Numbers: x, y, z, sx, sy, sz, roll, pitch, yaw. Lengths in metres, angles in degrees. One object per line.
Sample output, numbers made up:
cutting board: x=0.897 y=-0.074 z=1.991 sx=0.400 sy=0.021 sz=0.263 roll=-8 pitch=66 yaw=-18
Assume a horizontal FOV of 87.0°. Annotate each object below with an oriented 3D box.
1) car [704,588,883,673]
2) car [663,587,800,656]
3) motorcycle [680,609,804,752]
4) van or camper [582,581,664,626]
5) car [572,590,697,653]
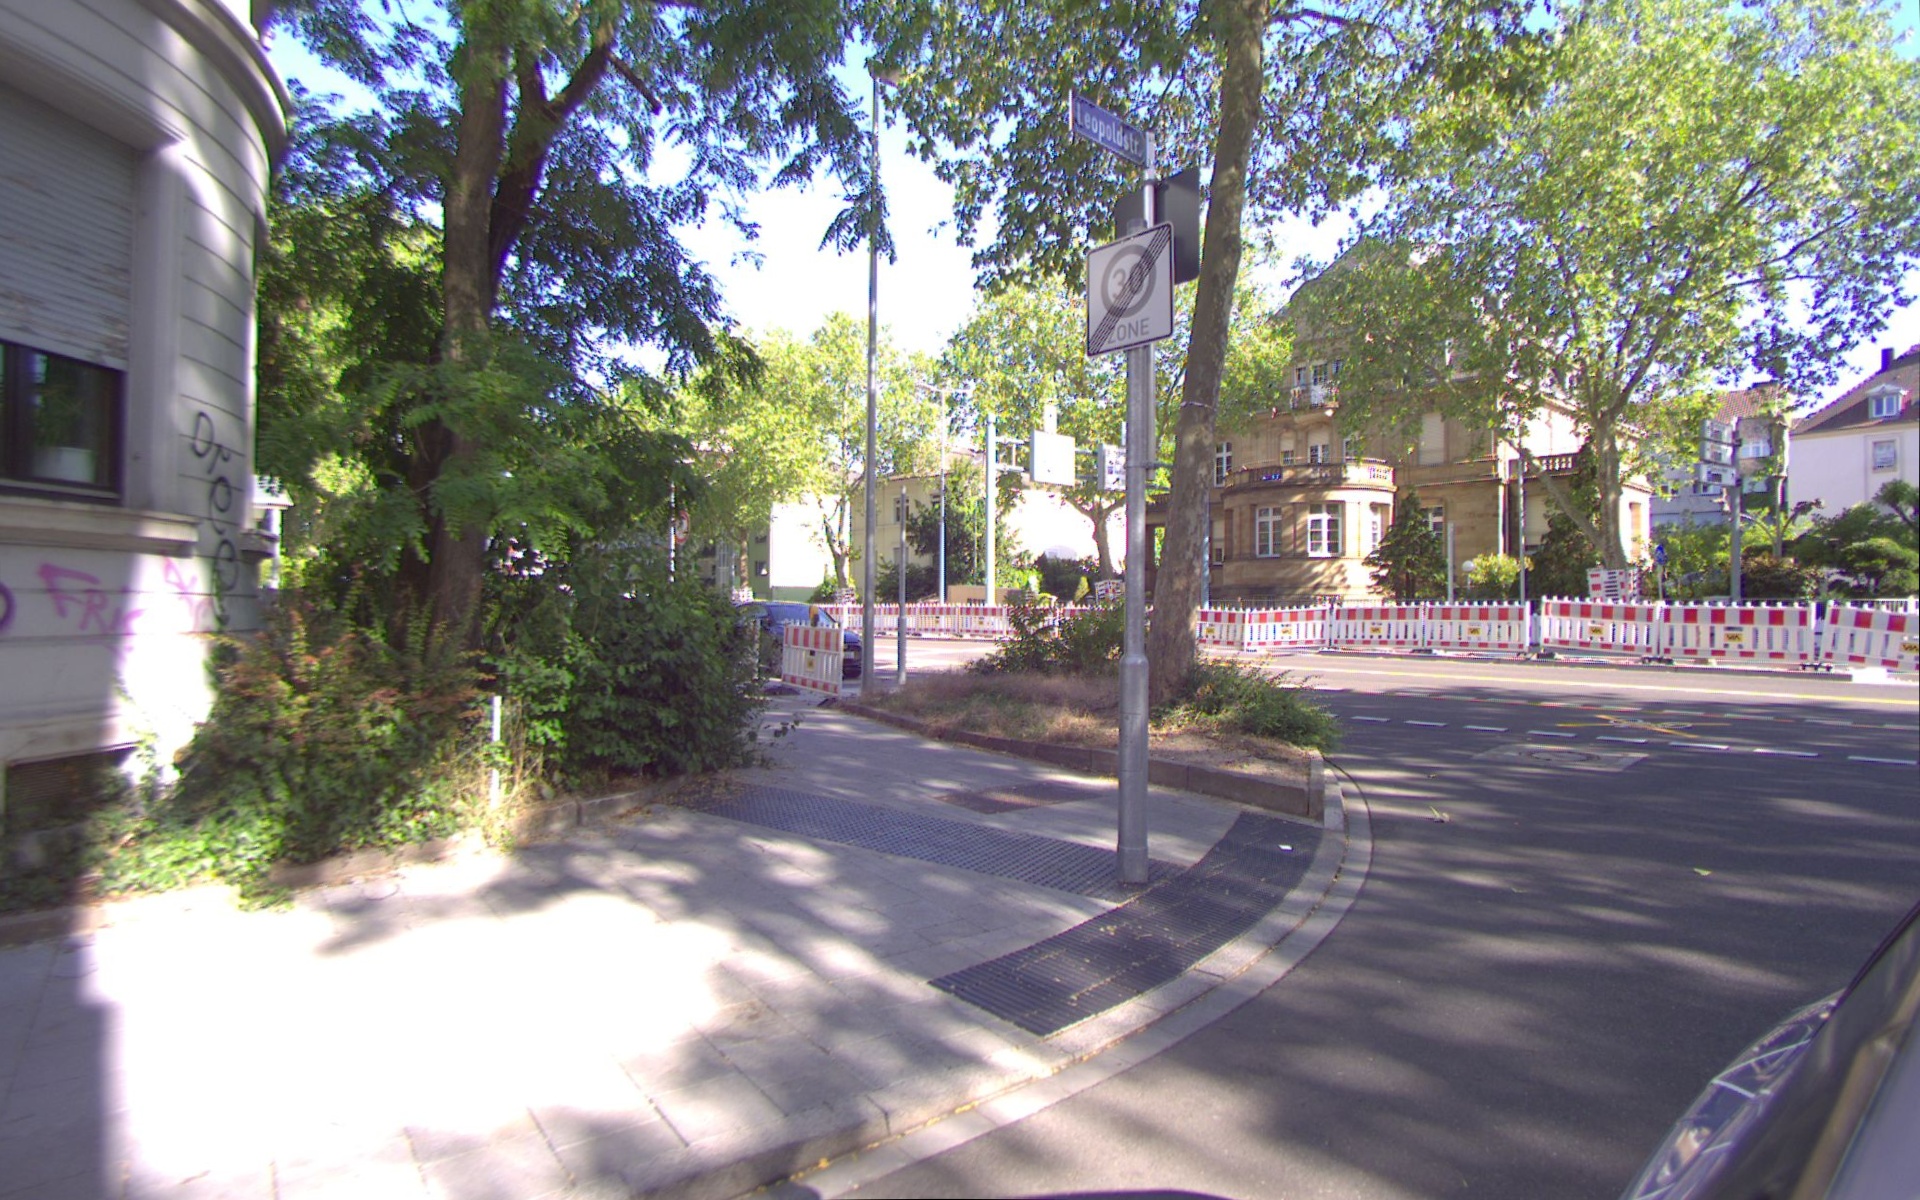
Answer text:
car: x=-3.375 y=0.568 z=19.975 sx=1.596 sy=1.505 sz=4.091 roll=3 pitch=-2 yaw=-40
car: x=-6.458 y=0.555 z=28.294 sx=1.837 sy=1.748 sz=4.499 roll=-1 pitch=1 yaw=-41
motorcycle: x=-2.045 y=0.687 z=9.359 sx=0.587 sy=1.201 sz=1.555 roll=0 pitch=0 yaw=-34
van or camper: x=-16.465 y=0.144 z=49.323 sx=1.965 sy=2.039 sz=5.320 roll=-1 pitch=0 yaw=-40
car: x=-8.461 y=0.547 z=26.093 sx=1.596 sy=1.505 sz=4.050 roll=3 pitch=-2 yaw=-40
